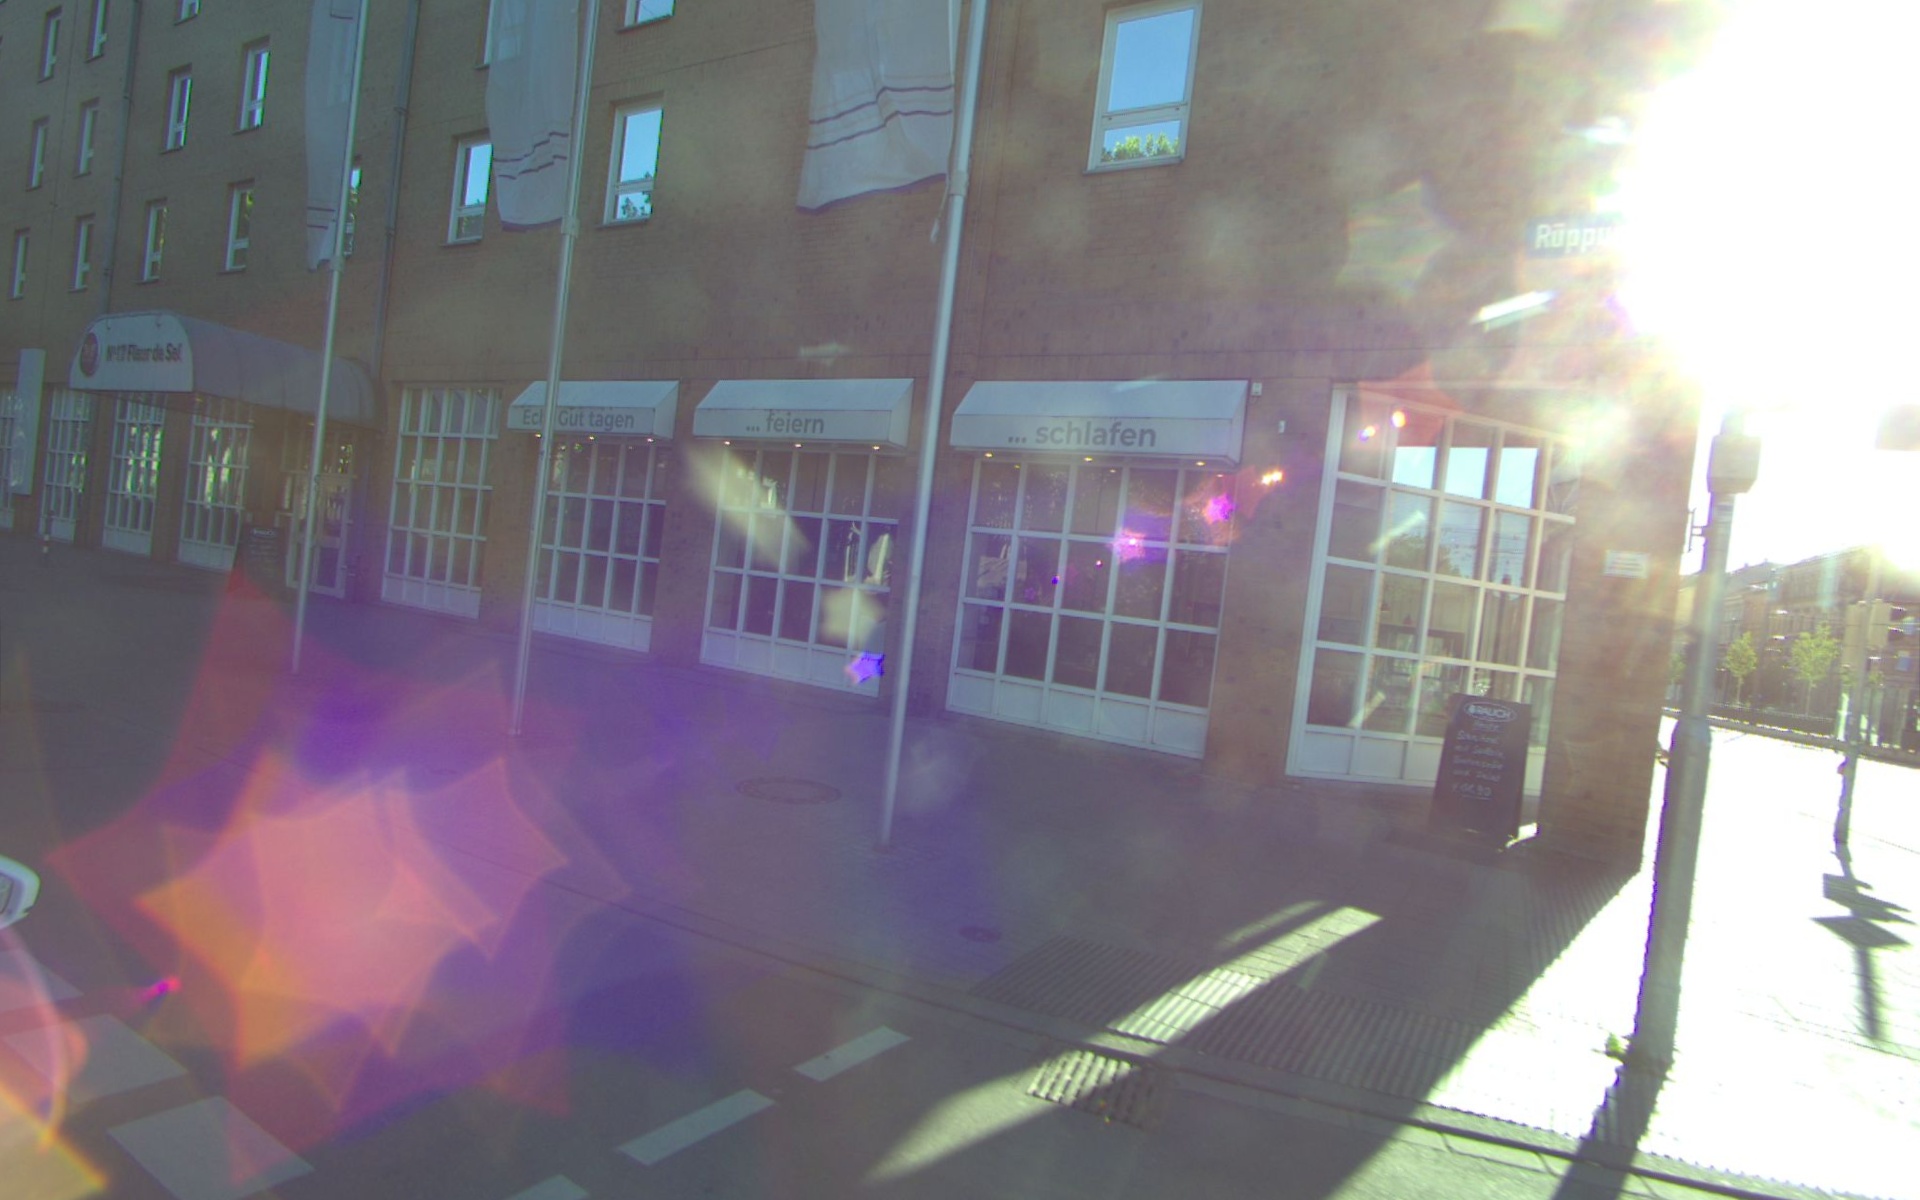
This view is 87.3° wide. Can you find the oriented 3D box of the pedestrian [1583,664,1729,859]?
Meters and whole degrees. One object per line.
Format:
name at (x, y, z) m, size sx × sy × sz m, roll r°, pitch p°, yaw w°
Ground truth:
pedestrian at (6.707, 1.525, 9.737) m, size 0.727 × 1.687 × 0.753 m, roll 7°, pitch 2°, yaw 10°
